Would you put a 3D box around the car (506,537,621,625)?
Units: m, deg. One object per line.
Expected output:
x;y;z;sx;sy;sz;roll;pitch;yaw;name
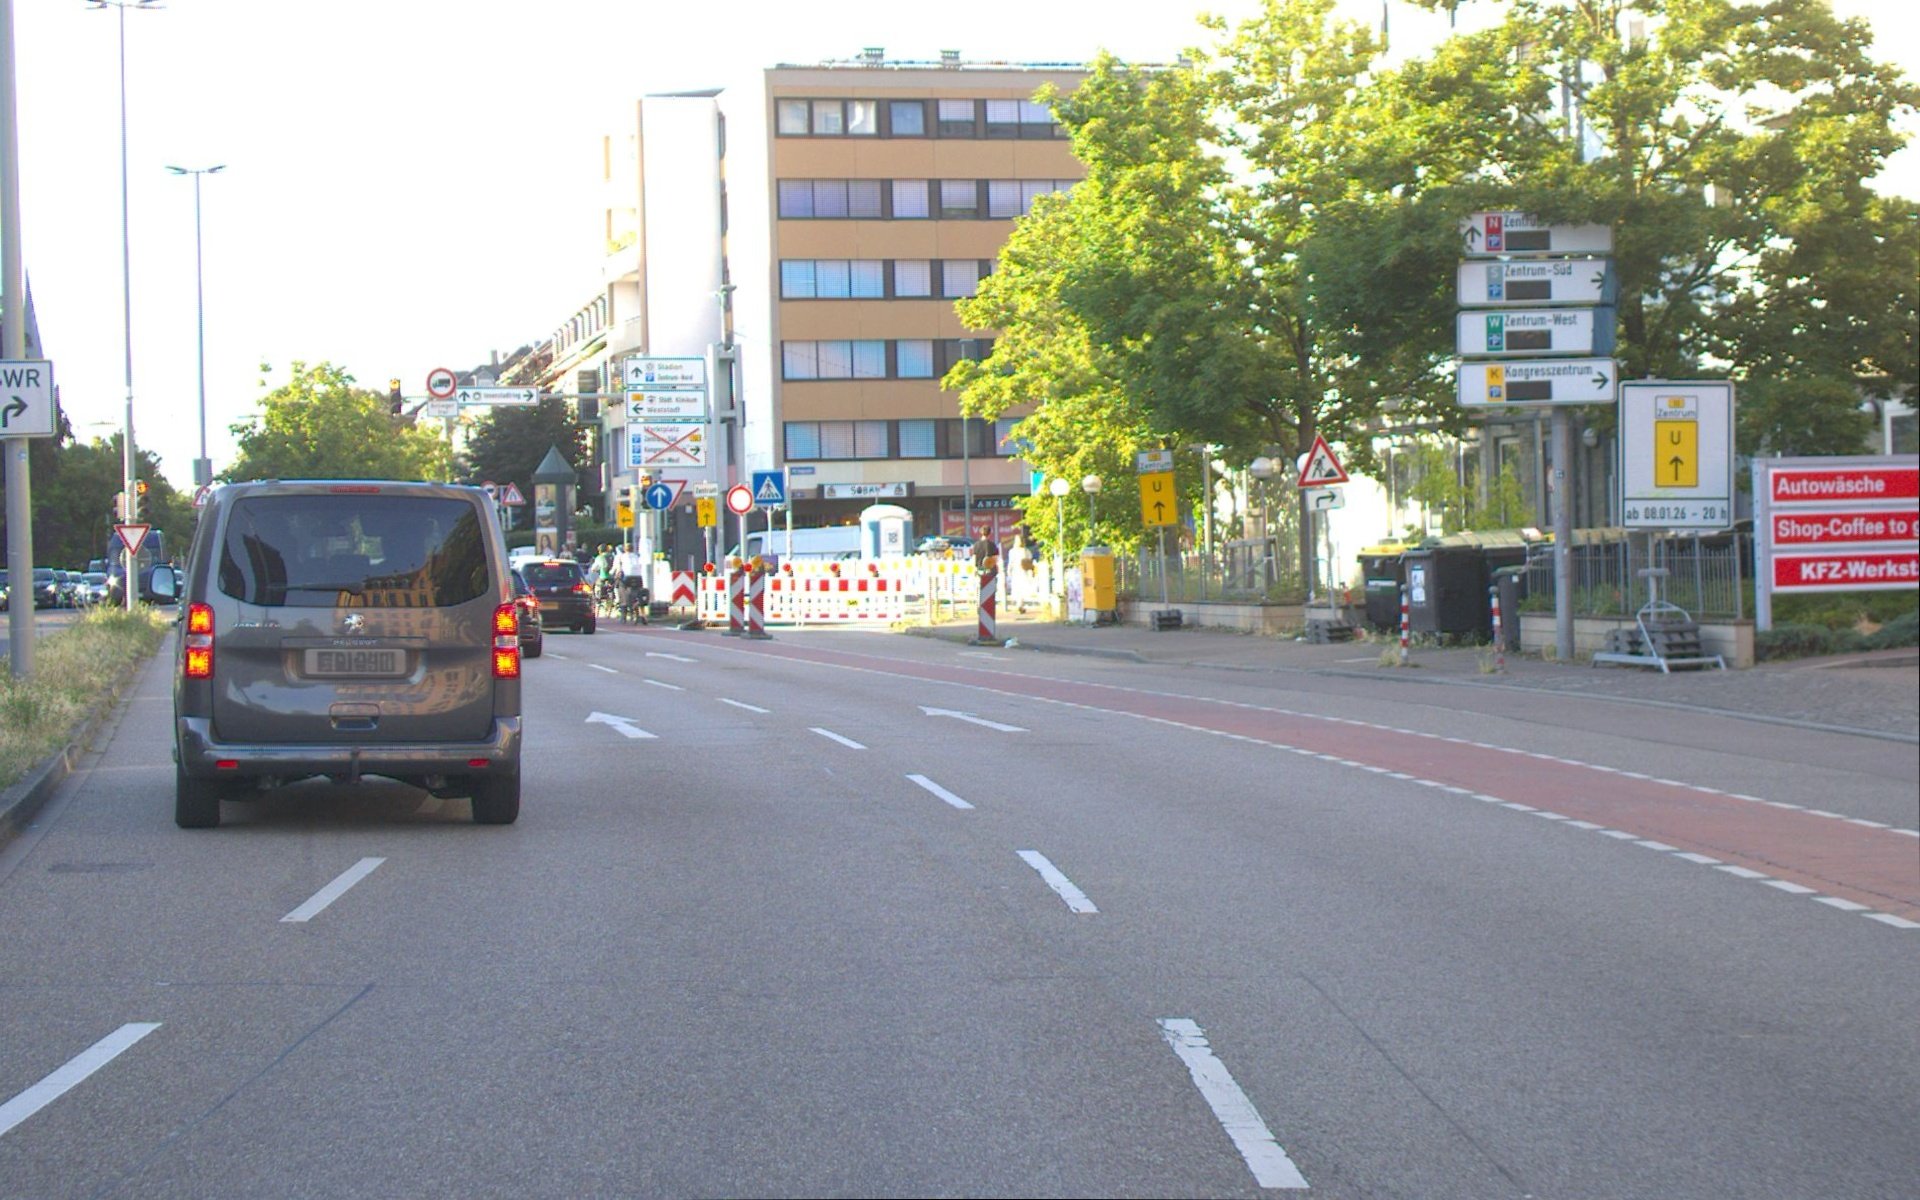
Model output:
-7.964;-0.404;68.726;1.993;1.651;4.300;-2;1;-10;car

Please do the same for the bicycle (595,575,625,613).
-8.031;-0.146;78.806;0.533;0.844;1.683;-2;1;-10;bicycle

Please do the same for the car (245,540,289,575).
-35.077;-2.137;173.999;1.848;1.702;3.726;-2;1;-16;car

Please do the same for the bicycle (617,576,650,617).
-7.054;-0.089;74.220;0.533;0.844;1.683;-2;1;-10;bicycle

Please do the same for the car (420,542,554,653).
-6.986;-0.068;51.057;1.845;1.539;3.632;-1;1;-7;car

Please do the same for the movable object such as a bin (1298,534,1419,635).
5.695;-0.228;49.241;1.462;1.381;1.547;-2;1;-3;movable object such as a bin

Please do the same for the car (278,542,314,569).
-42.332;-2.838;219.163;1.848;1.702;3.726;-2;1;-16;car

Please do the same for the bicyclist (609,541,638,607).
-7.474;-0.579;76.388;0.540;1.454;0.641;-2;1;-10;bicyclist

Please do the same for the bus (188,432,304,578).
-23.636;-3.058;113.488;3.289;4.601;10.003;0;1;-14;bus

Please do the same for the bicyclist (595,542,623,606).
-8.044;-0.604;78.771;0.540;1.454;0.641;-2;1;-10;bicyclist

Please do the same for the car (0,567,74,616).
-31.749;-0.301;117.737;1.993;1.590;4.001;-1;1;-4;car

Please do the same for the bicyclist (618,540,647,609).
-7.074;-0.555;74.227;0.540;1.454;0.641;-2;1;-10;bicyclist

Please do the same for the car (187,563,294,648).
-15.089;0.086;71.952;1.993;1.651;4.300;-2;1;-14;car

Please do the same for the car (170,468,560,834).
-3.544;0.219;20.092;1.993;1.894;4.300;1;1;-12;car

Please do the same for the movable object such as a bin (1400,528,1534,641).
6.757;-0.222;45.922;1.462;1.449;1.547;-2;1;-3;movable object such as a bin

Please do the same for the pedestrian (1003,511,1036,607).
1.254;-0.867;72.369;0.490;2.007;0.664;-2;1;-12;pedestrian

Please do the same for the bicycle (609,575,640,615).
-7.464;-0.118;76.402;0.533;0.844;1.683;-2;1;-10;bicycle

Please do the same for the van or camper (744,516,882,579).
-4.986;-1.781;116.250;4.564;2.007;2.000;-2;1;-4;van or camper
